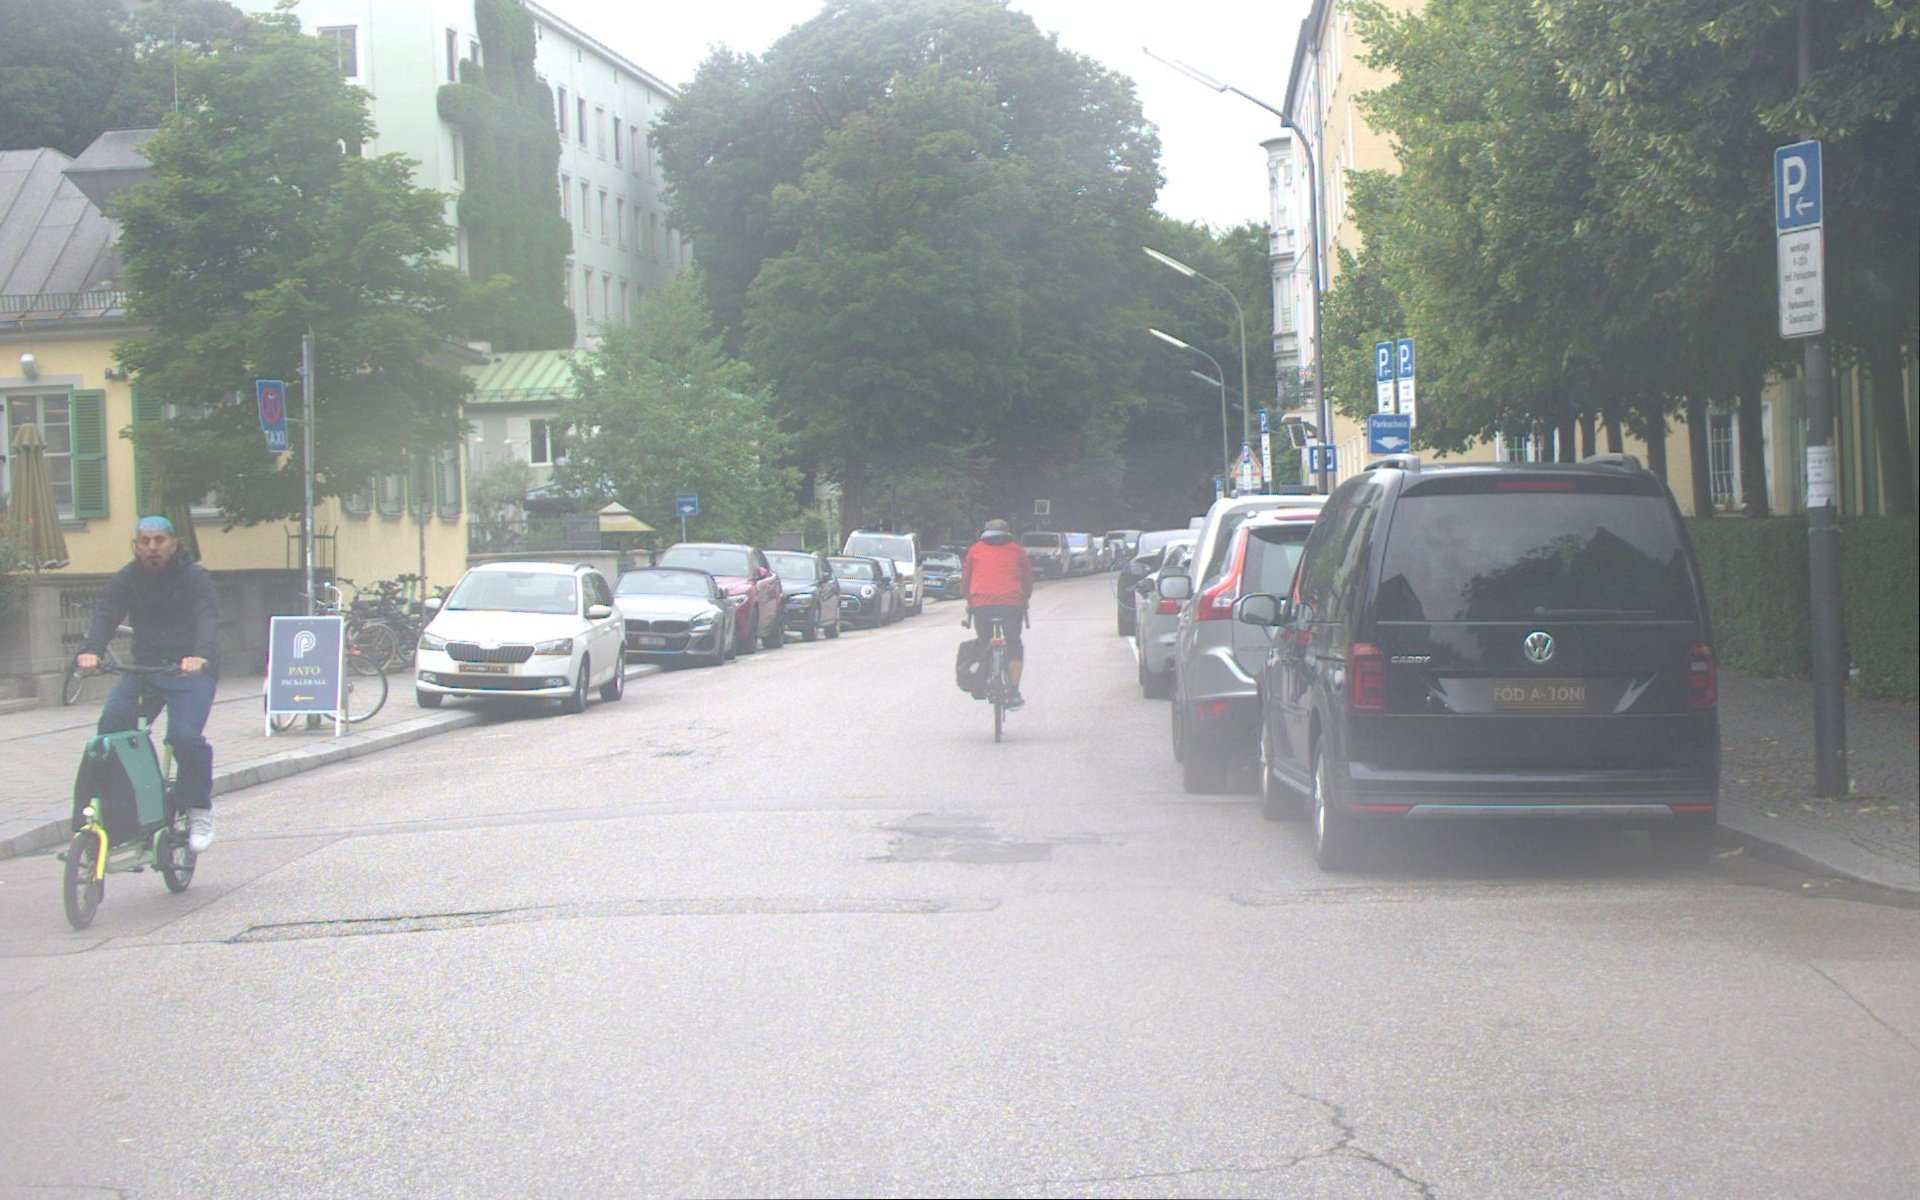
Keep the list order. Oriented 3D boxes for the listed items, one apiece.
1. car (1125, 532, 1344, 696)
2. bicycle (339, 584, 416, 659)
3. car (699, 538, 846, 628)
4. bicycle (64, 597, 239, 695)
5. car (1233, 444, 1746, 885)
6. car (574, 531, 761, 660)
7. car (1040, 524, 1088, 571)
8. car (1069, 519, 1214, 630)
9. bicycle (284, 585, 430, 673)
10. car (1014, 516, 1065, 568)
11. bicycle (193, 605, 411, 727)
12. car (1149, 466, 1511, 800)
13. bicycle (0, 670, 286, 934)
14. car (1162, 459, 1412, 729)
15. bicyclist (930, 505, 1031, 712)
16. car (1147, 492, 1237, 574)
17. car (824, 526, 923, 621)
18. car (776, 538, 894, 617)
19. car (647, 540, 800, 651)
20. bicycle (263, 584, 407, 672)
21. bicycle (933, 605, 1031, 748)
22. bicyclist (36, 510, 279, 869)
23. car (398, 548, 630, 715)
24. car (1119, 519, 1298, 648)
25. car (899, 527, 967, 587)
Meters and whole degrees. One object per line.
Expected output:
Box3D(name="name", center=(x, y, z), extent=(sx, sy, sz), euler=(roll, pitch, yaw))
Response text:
Box3D(name="car", center=(2.575, 0.082, 33.072), extent=(1.863, 1.435, 4.255), euler=(-1, 1, 2))
Box3D(name="bicycle", center=(-7.981, 0.293, 47.152), extent=(0.621, 1.001, 1.618), euler=(-1, 0, 5))
Box3D(name="car", center=(-3.241, -0.327, 60.071), extent=(1.994, 1.481, 3.999), euler=(0, 2, 5))
Box3D(name="bicycle", center=(-8.258, 0.466, 35.115), extent=(1.613, 0.922, 0.651), euler=(-2, 0, -25))
Box3D(name="car", center=(2.391, 0.224, 16.506), extent=(1.760, 1.817, 4.139), euler=(-1, 1, 0))
Box3D(name="car", center=(-4.020, -0.111, 48.014), extent=(1.994, 1.643, 4.655), euler=(-2, 1, 2))
Box3D(name="car", center=(4.605, -2.301, 151.515), extent=(1.994, 2.007, 4.000), euler=(1, 0, 3))
Box3D(name="car", center=(2.785, -0.431, 53.543), extent=(1.993, 1.612, 4.000), euler=(-2, 1, 0))
Box3D(name="bicycle", center=(-7.371, 0.355, 42.038), extent=(1.613, 1.001, 0.623), euler=(-2, 0, -25))
Box3D(name="car", center=(3.243, -2.373, 139.975), extent=(1.993, 2.091, 4.000), euler=(1, 1, 2))
Box3D(name="bicycle", center=(-5.897, 0.573, 30.918), extent=(0.623, 1.001, 2.136), euler=(2, 2, 33))
Box3D(name="car", center=(2.176, 0.131, 21.330), extent=(1.863, 1.787, 4.509), euler=(-2, 1, 2))
Box3D(name="bicycle", center=(-3.709, 0.880, 15.645), extent=(0.621, 1.001, 2.140), euler=(-2, 1, 6))
Box3D(name="car", center=(2.541, -0.093, 27.534), extent=(1.750, 1.936, 4.227), euler=(-2, 1, 3))
Box3D(name="bicyclist", center=(0.161, 0.062, 25.710), extent=(0.671, 1.492, 1.095), euler=(-2, 0, 2))
Box3D(name="car", center=(6.050, -1.768, 90.186), extent=(1.993, 2.053, 4.624), euler=(-2, 1, 0))
Box3D(name="car", center=(-1.969, -0.642, 79.530), extent=(1.993, 2.072, 4.000), euler=(-2, 1, 2))
Box3D(name="car", center=(-2.545, -0.490, 70.948), extent=(1.994, 1.481, 4.000), euler=(-2, 1, 4))
Box3D(name="car", center=(-3.606, -0.083, 53.080), extent=(1.993, 1.597, 4.000), euler=(-2, 0, 1))
Box3D(name="bicycle", center=(-7.863, 0.351, 43.270), extent=(1.614, 1.001, 0.623), euler=(-3, 0, -36))
Box3D(name="bicycle", center=(0.180, 0.552, 25.743), extent=(0.621, 1.001, 2.140), euler=(-2, 0, 2))
Box3D(name="bicyclist", center=(-3.655, 0.389, 15.738), extent=(0.743, 1.570, 0.977), euler=(-2, 1, 6))
Box3D(name="car", center=(-4.535, 0.279, 35.428), extent=(1.734, 1.576, 3.787), euler=(1, 1, 2))
Box3D(name="car", center=(3.168, -0.251, 44.581), extent=(1.993, 1.546, 4.000), euler=(-2, 1, 0))
Box3D(name="car", center=(-0.774, -1.287, 102.286), extent=(1.810, 1.677, 4.000), euler=(-2, 1, 2))
